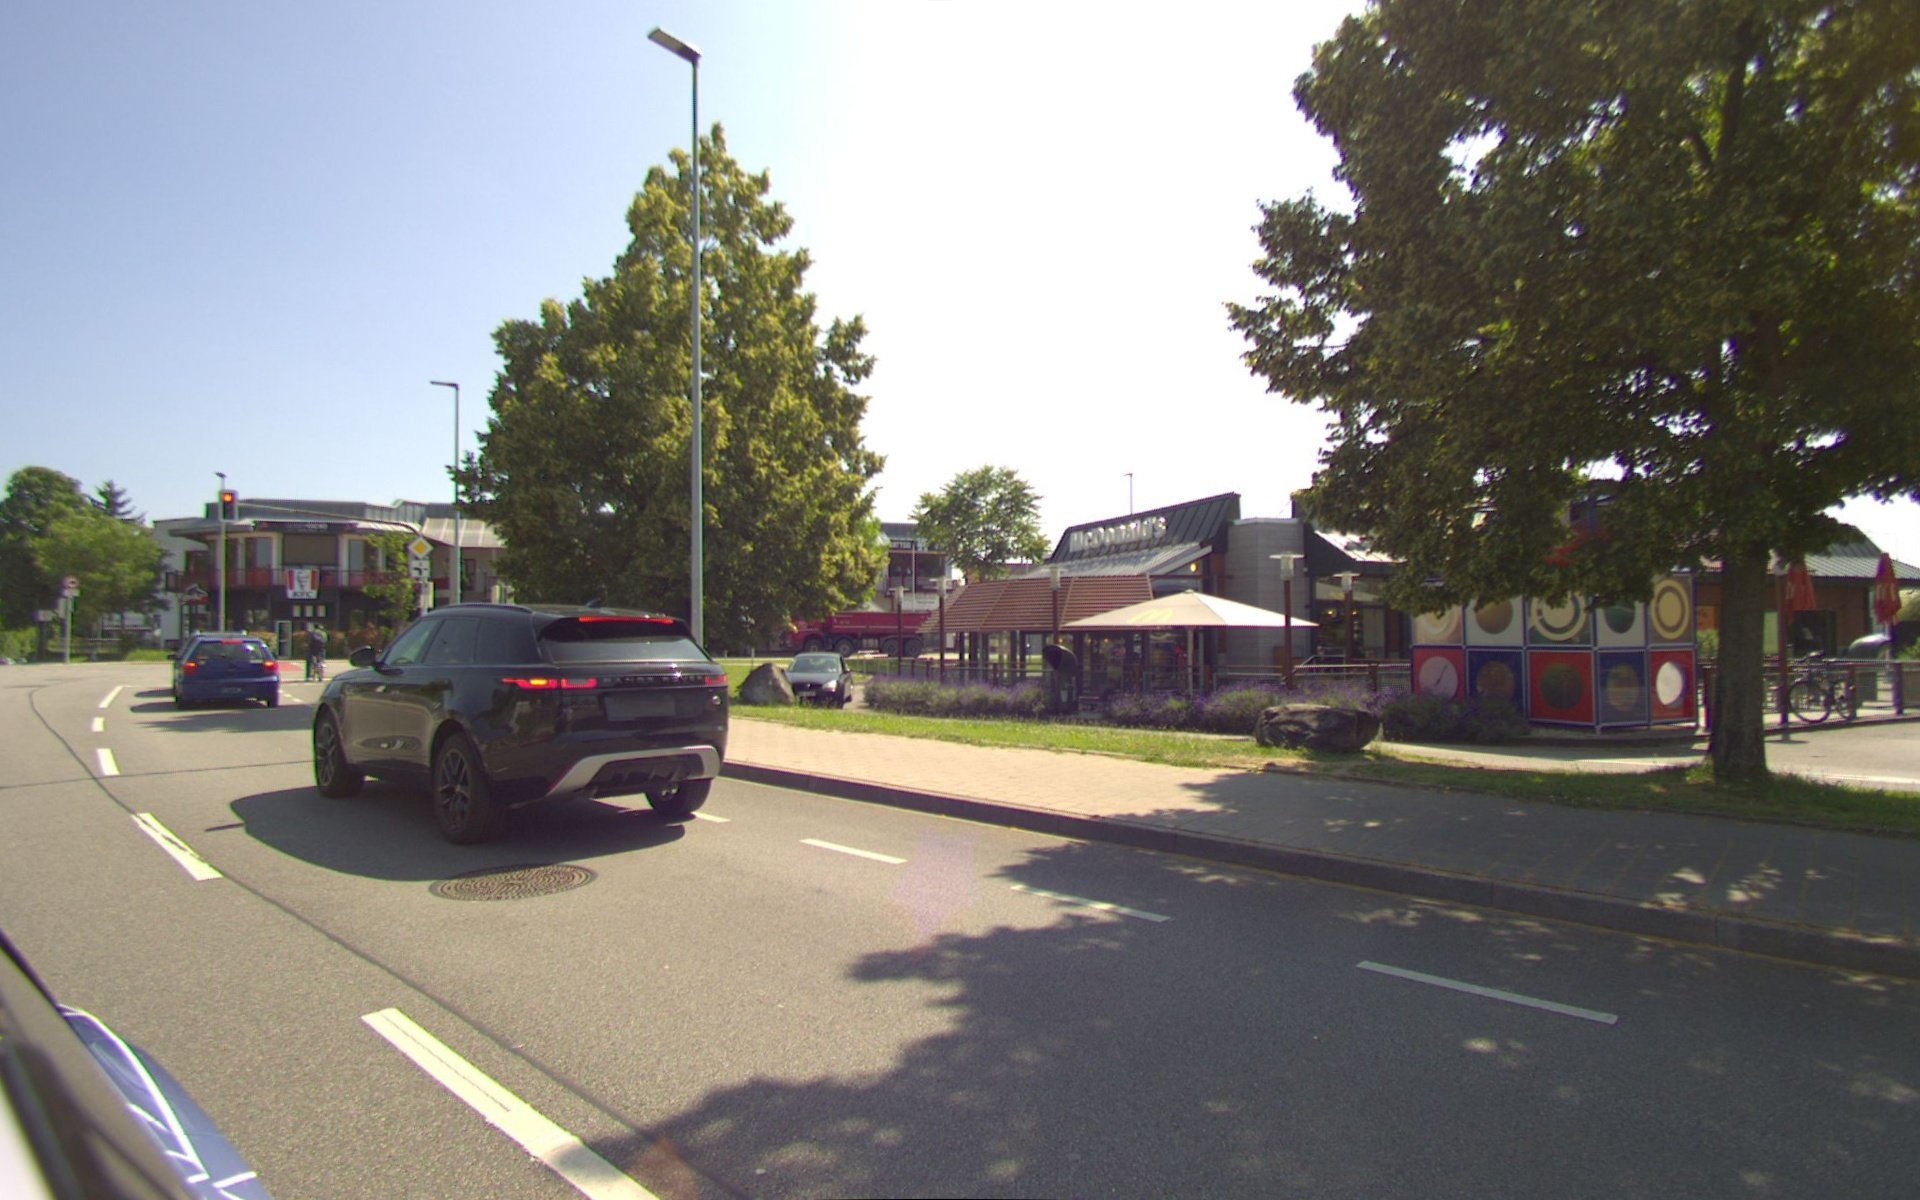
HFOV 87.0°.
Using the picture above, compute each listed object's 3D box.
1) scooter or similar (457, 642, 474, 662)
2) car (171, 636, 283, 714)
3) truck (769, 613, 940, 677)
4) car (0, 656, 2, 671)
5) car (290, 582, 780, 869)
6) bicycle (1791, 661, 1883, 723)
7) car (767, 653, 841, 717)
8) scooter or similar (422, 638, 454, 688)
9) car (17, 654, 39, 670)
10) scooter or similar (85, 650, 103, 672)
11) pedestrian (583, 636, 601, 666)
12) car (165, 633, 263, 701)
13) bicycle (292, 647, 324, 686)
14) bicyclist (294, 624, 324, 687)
[{"bbox_3d":[-27.360,2.868,56.019,0.492,1.132,1.508,0,-3,-14],"label":"scooter or similar"},{"bbox_3d":[-14.671,1.431,20.211,1.634,1.391,4.008,2,-3,-37],"label":"car"},{"bbox_3d":[-5.973,2.519,57.330,9.009,3.412,3.325,0,-3,-22],"label":"truck"},{"bbox_3d":[-102.208,6.702,106.681,1.647,1.544,4.005,2,-3,-42],"label":"car"},{"bbox_3d":[-3.678,0.846,8.310,4.611,1.708,1.929,-2,-3,42],"label":"car"},{"bbox_3d":[14.820,1.540,17.097,1.826,1.000,0.309,1,-3,-21],"label":"bicycle"},{"bbox_3d":[-4.239,2.258,27.666,1.836,1.564,4.195,0,-3,-8],"label":"car"},{"bbox_3d":[-12.961,1.549,25.131,0.465,1.193,1.368,2,-3,-37],"label":"scooter or similar"},{"bbox_3d":[-111.370,7.403,120.964,1.647,1.741,4.007,-3,0,-39],"label":"car"},{"bbox_3d":[-45.870,3.232,53.604,0.420,1.132,1.456,1,-3,-28],"label":"scooter or similar"},{"bbox_3d":[-20.251,2.806,55.724,0.723,1.658,0.842,0,-3,-3],"label":"pedestrian"},{"bbox_3d":[-18.296,1.600,24.831,1.756,1.508,4.732,2,-3,-37],"label":"car"},{"bbox_3d":[-19.070,1.941,29.584,0.687,1.113,1.760,3,-4,-34],"label":"bicycle"},{"bbox_3d":[-19.048,1.616,29.616,0.700,1.802,0.811,2,-3,-34],"label":"bicyclist"}]
